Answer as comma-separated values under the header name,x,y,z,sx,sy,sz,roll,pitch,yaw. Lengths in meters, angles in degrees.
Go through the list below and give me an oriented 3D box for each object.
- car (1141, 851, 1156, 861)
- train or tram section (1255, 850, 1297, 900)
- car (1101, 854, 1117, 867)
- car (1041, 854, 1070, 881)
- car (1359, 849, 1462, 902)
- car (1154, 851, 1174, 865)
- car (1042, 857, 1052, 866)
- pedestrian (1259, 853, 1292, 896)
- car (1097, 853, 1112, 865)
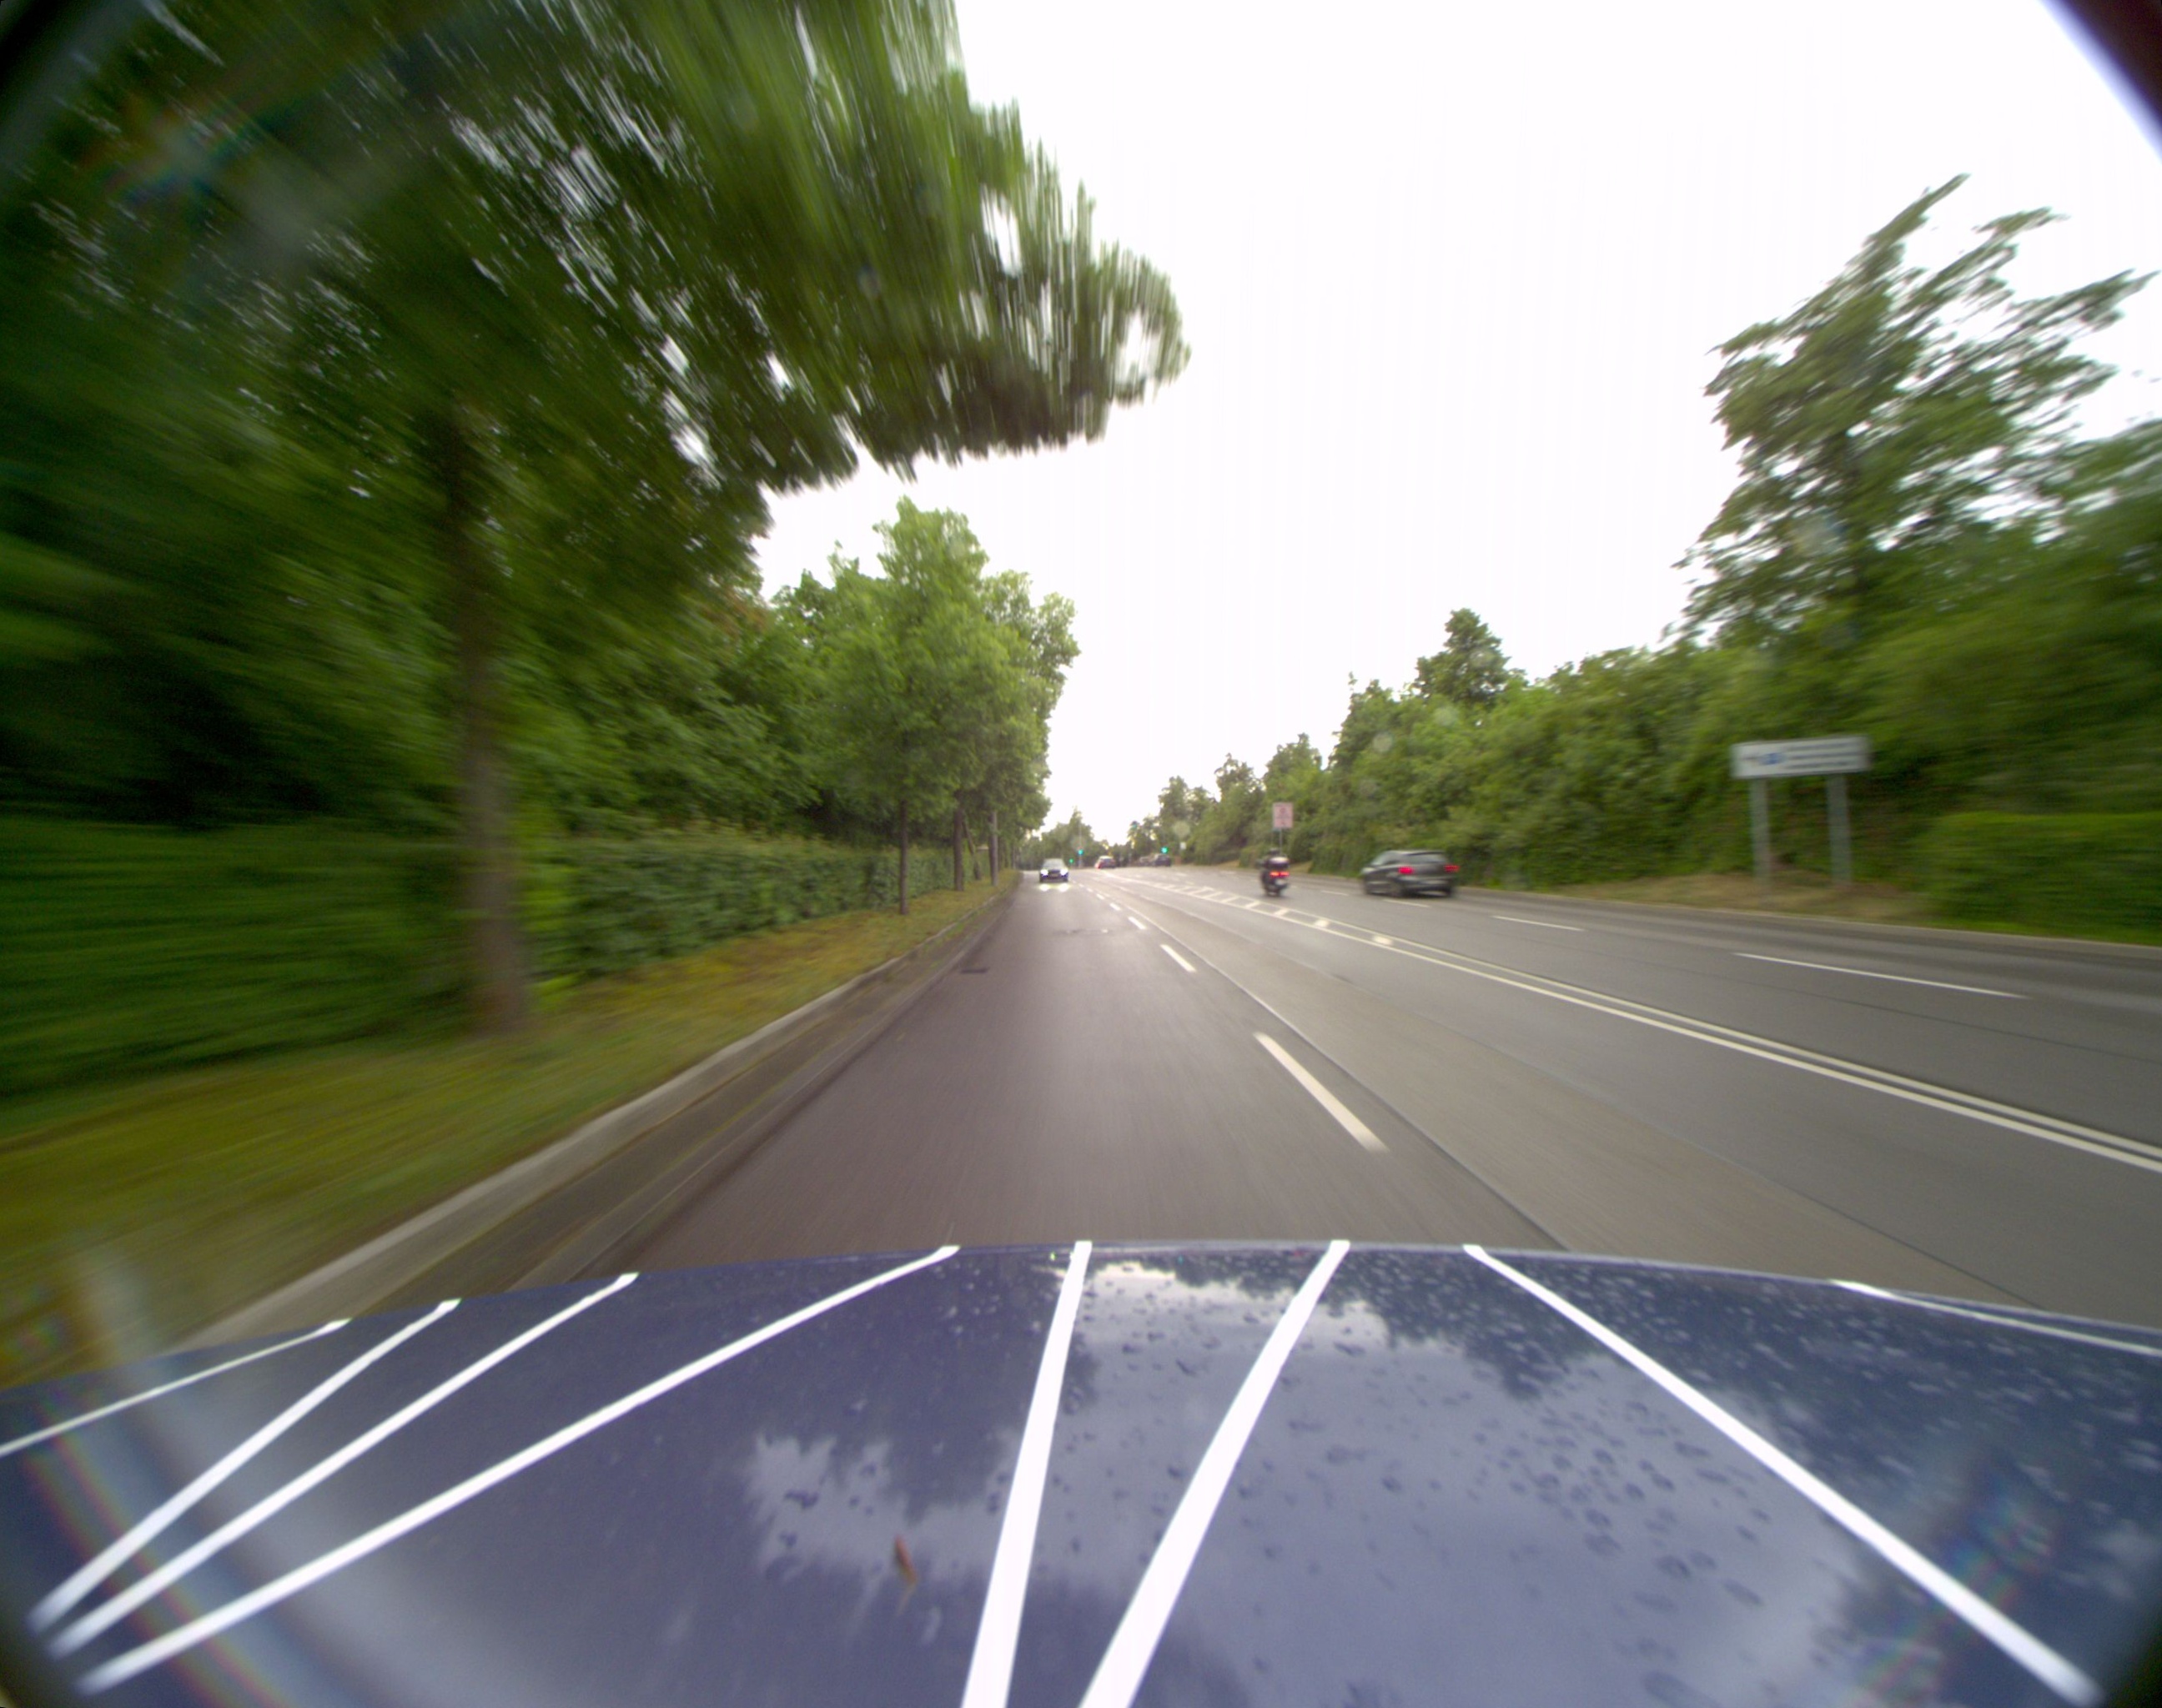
name,x,y,z,sx,sy,sz,roll,pitch,yaw
car,9.757,0.270,110.699,1.679,1.459,3.861,-2,0,-1
train or tram section,6.598,0.677,25.818,0.793,1.561,2.383,-3,0,1
car,3.475,0.814,95.380,1.782,1.459,3.997,-2,0,-1
car,-1.574,0.847,48.749,1.738,1.577,4.285,-2,0,-1
car,9.809,0.581,22.932,1.552,1.429,3.696,-2,1,1
car,10.015,0.502,91.863,1.804,1.597,4.427,-2,0,-1
car,-6.622,1.489,147.852,1.738,1.577,4.285,-2,0,-1
pedestrian,6.599,0.677,25.814,0.793,1.375,0.974,-3,1,1
car,3.280,0.688,107.708,1.891,1.646,4.449,-2,0,-1
